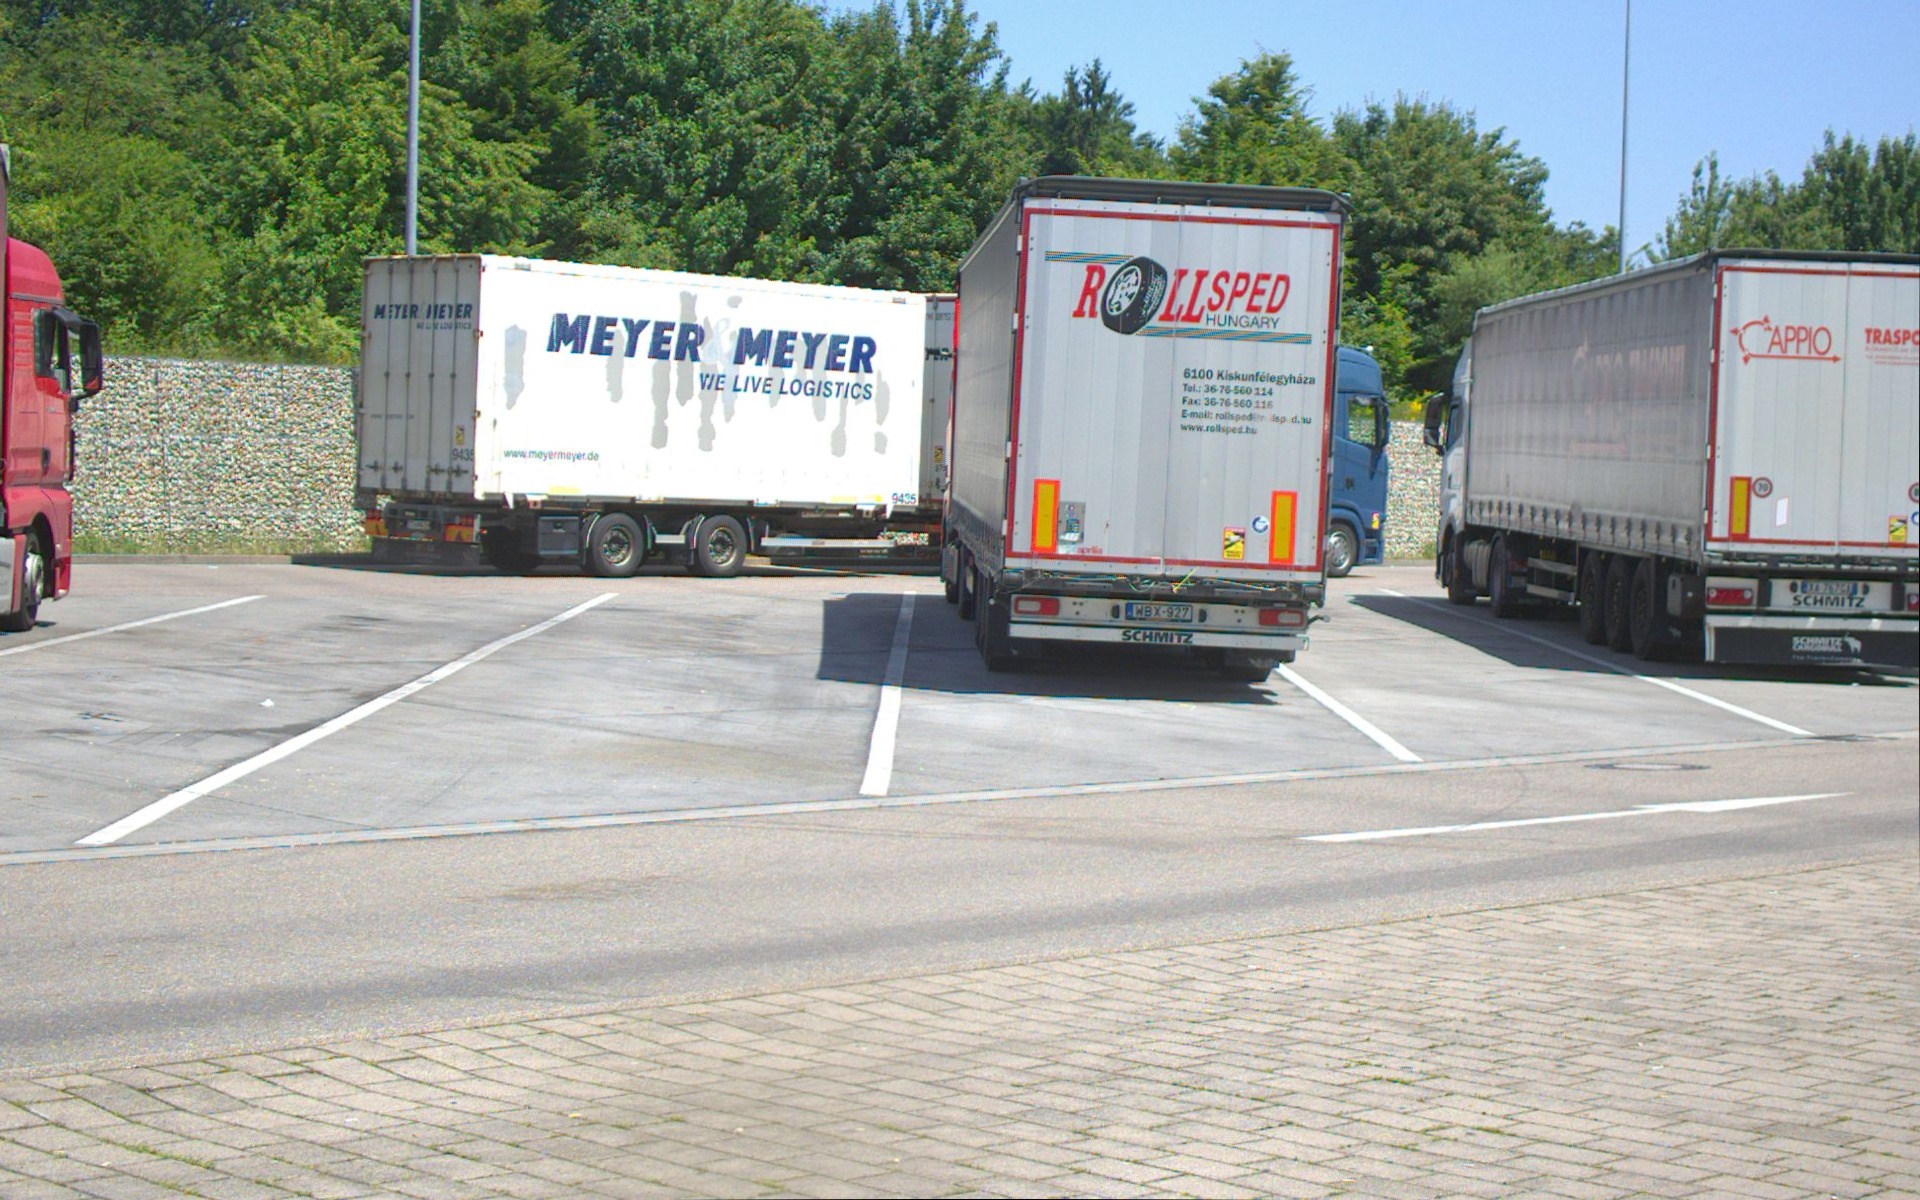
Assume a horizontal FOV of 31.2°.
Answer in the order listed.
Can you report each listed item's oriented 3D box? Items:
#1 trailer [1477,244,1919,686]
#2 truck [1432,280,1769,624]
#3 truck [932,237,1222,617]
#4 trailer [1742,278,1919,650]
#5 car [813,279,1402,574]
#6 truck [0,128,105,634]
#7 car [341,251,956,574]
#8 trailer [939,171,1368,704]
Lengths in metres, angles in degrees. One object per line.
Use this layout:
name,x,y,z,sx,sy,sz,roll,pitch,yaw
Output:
trailer,8.191,-1.576,37.946,2.866,4.023,12.439,2,3,0
truck,8.132,-1.958,44.573,2.866,4.023,6.957,2,3,0
truck,1.234,-2.059,40.688,2.866,4.023,7.028,2,3,-2
trailer,11.846,-1.538,39.010,2.866,4.023,12.439,2,3,0
car,2.508,-2.596,53.451,10.189,4.174,2.687,-1,5,-44
truck,-9.142,-1.812,27.971,2.696,4.099,6.240,2,3,0
car,-4.081,-2.476,46.938,2.687,4.030,8.445,6,5,45
trailer,1.446,-1.641,33.609,2.866,4.023,14.243,2,3,-2
